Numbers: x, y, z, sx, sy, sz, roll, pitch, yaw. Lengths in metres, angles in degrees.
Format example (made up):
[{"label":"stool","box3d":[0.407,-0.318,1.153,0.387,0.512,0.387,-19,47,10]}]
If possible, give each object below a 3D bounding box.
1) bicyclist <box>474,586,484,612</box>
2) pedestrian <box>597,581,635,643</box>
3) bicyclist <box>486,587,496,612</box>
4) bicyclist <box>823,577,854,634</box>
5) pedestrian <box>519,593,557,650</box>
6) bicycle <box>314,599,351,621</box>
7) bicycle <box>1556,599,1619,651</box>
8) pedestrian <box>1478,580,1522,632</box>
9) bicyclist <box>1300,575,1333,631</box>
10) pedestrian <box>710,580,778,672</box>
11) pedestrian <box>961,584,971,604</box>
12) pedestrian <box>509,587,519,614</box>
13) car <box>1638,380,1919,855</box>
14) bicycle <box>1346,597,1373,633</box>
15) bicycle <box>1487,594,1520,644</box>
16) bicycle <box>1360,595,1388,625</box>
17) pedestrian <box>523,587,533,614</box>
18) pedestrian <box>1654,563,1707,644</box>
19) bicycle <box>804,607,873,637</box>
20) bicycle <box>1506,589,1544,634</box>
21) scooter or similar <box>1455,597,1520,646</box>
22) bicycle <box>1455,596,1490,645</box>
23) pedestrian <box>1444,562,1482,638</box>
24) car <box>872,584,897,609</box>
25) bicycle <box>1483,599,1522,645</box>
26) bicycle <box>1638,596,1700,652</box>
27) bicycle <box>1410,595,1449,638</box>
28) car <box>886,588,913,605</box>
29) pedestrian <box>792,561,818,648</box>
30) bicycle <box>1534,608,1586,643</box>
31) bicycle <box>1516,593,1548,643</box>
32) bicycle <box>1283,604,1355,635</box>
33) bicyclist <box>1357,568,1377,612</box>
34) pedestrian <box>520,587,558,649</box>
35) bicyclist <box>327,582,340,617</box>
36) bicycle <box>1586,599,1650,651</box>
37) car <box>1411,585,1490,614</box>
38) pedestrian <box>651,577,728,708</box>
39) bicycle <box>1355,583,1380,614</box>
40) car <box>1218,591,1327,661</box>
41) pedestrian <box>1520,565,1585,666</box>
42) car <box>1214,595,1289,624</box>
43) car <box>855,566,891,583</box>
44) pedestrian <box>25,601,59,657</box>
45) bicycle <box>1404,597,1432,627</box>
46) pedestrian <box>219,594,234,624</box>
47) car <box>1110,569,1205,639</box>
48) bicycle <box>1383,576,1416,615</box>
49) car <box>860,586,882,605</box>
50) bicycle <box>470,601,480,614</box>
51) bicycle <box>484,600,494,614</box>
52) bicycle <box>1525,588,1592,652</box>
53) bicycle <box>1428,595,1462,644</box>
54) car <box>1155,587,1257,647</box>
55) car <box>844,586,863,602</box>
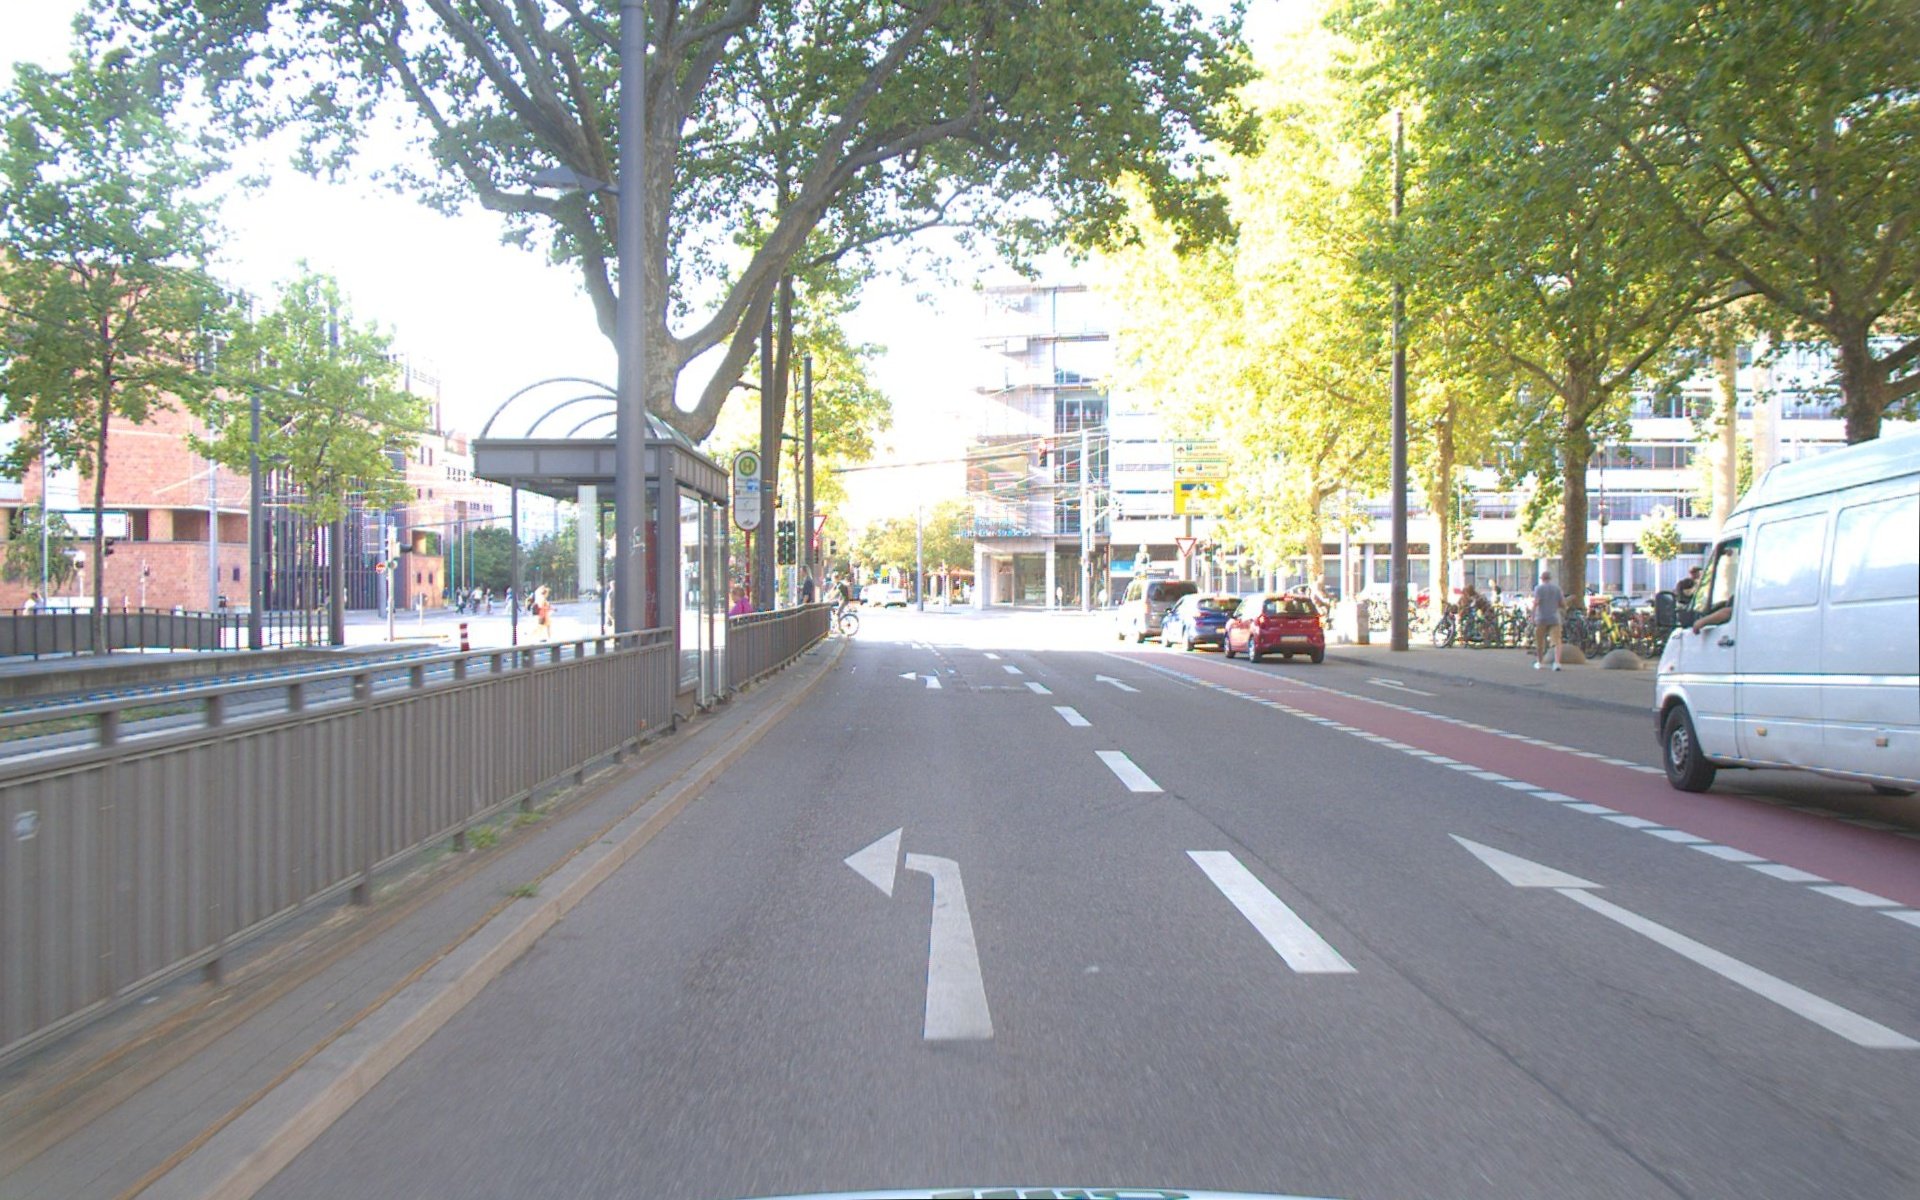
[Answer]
[{"label":"bicyclist","box3d":[-32.482,-0.065,111.691,0.582,1.705,0.788,-1,0,-10]},{"label":"pedestrian","box3d":[-10.705,0.375,51.469,1.125,1.927,0.831,1,0,-12]},{"label":"bicyclist","box3d":[-31.776,-0.049,112.000,0.582,1.705,0.788,-1,0,-10]},{"label":"bicyclist","box3d":[-3.911,0.164,53.223,0.835,1.816,0.750,-1,0,-15]},{"label":"pedestrian","box3d":[-12.761,0.642,50.037,1.053,1.711,0.756,1,0,-12]},{"label":"bicycle","box3d":[-37.838,0.606,99.795,2.080,1.261,0.446,-2,1,-44]},{"label":"bicycle","box3d":[13.205,0.520,34.837,0.584,1.050,1.653,-1,0,-4]},{"label":"pedestrian","box3d":[19.870,0.221,60.859,1.186,1.854,1.039,1,-1,-10]},{"label":"bicyclist","box3d":[11.427,0.092,52.972,0.834,1.798,0.751,-1,0,31]},{"label":"pedestrian","box3d":[-3.433,0.406,26.336,0.956,1.424,0.664,1,-1,0]},{"label":"pedestrian","box3d":[0.464,-0.461,125.801,0.725,1.491,0.536,-1,0,-6]},{"label":"pedestrian","box3d":[-28.425,0.021,105.384,0.529,1.679,0.621,-1,0,-23]},{"label":"car","box3d":[6.617,0.109,10.711,1.952,2.772,6.563,1,0,2]},{"label":"bicycle","box3d":[13.527,0.501,56.018,0.441,1.164,1.475,-1,0,-6]},{"label":"bicycle","box3d":[12.931,0.440,39.313,0.583,1.135,1.825,-1,0,23]},{"label":"bicycle","box3d":[14.159,0.346,56.602,0.441,1.000,1.475,-1,0,-6]},{"label":"pedestrian","box3d":[-27.638,0.031,105.755,0.529,1.679,0.621,-1,0,-23]},{"label":"pedestrian","box3d":[16.004,0.072,36.759,0.801,1.788,0.770,-1,0,-2]},{"label":"bicycle","box3d":[-3.905,0.702,53.282,2.141,0.950,0.665,0,0,-16]},{"label":"bicycle","box3d":[15.095,0.297,44.203,0.412,1.180,1.475,-1,0,-3]},{"label":"scooter or similar","box3d":[13.171,0.537,41.330,1.233,1.162,0.912,3,-2,-18]},{"label":"bicycle","box3d":[12.281,0.476,39.592,0.583,1.135,1.949,-1,0,23]},{"label":"pedestrian","box3d":[12.107,0.001,39.801,0.789,1.817,0.657,-1,0,22]},{"label":"car","box3d":[-6.283,-0.339,137.978,1.954,2.026,3.996,-1,0,-4]},{"label":"bicycle","box3d":[14.419,0.579,44.011,0.412,1.180,1.475,-1,0,-6]},{"label":"bicycle","box3d":[15.023,0.498,35.063,0.492,1.157,1.653,-1,0,-4]},{"label":"bicycle","box3d":[12.398,0.425,43.702,0.614,1.075,1.572,-1,0,2]},{"label":"car","box3d":[-4.824,-0.291,131.243,1.954,1.355,3.996,-1,0,-4]},{"label":"pedestrian","box3d":[-3.484,0.097,37.248,0.499,1.933,0.759,1,-1,-3]},{"label":"bicycle","box3d":[13.782,0.588,38.008,1.086,0.774,0.399,-1,0,24]},{"label":"bicycle","box3d":[13.524,0.424,39.081,0.594,1.135,1.825,-1,0,23]},{"label":"bicycle","box3d":[11.489,0.619,52.949,2.137,0.950,0.666,0,0,31]},{"label":"bicyclist","box3d":[15.313,-0.370,62.274,0.550,1.644,0.822,-1,0,2]},{"label":"pedestrian","box3d":[-12.916,0.552,50.773,1.054,1.904,0.737,1,0,-12]},{"label":"bicyclist","box3d":[-37.821,-0.011,99.820,0.558,2.096,0.444,-1,0,-43]},{"label":"bicycle","box3d":[13.871,0.510,34.896,0.584,1.050,1.653,-1,0,-4]},{"label":"car","box3d":[28.707,-0.042,96.871,4.153,1.587,1.796,-1,0,1]},{"label":"pedestrian","box3d":[-2.991,0.467,18.317,0.719,1.412,0.640,1,-1,0]},{"label":"bicycle","box3d":[15.314,-0.067,62.235,0.554,1.146,1.779,-1,0,2]},{"label":"car","box3d":[7.026,0.554,37.495,1.528,1.490,3.618,0,0,-4]},{"label":"pedestrian","box3d":[10.806,0.277,30.169,0.854,1.817,0.808,-1,0,-3]},{"label":"car","box3d":[17.117,0.526,97.233,4.152,1.630,1.796,-1,0,2]},{"label":"car","box3d":[-9.894,-2.874,188.115,3.681,1.781,1.783,1,-4,10]},{"label":"pedestrian","box3d":[-27.038,0.854,48.707,0.578,1.612,0.724,2,0,-5]},{"label":"bicycle","box3d":[15.628,0.401,56.462,0.441,1.000,1.475,-1,0,-6]},{"label":"pedestrian","box3d":[-41.432,0.508,93.391,0.532,1.641,0.570,-1,0,27]},{"label":"car","box3d":[5.991,0.106,50.714,1.954,2.000,5.133,1,0,-4]},{"label":"bicycle","box3d":[14.999,-0.151,56.488,0.441,1.309,1.885,-1,0,-6]},{"label":"car","box3d":[-8.274,-0.456,152.931,1.954,1.691,3.996,-1,0,-4]},{"label":"bicycle","box3d":[-32.734,0.506,111.547,0.504,0.897,1.834,-1,0,-12]},{"label":"bicycle","box3d":[-31.895,0.473,111.929,0.504,0.897,1.834,-1,0,-12]},{"label":"bicycle","box3d":[12.554,0.401,34.749,0.584,1.286,1.875,-1,0,-4]},{"label":"bicycle","box3d":[11.819,0.460,40.286,0.583,1.135,1.825,-1,0,23]},{"label":"car","box3d":[6.511,0.427,44.127,1.730,1.489,4.212,-1,0,-5]},{"label":"car","box3d":[-11.235,-0.640,174.683,1.954,1.691,3.996,-1,0,-4]}]
